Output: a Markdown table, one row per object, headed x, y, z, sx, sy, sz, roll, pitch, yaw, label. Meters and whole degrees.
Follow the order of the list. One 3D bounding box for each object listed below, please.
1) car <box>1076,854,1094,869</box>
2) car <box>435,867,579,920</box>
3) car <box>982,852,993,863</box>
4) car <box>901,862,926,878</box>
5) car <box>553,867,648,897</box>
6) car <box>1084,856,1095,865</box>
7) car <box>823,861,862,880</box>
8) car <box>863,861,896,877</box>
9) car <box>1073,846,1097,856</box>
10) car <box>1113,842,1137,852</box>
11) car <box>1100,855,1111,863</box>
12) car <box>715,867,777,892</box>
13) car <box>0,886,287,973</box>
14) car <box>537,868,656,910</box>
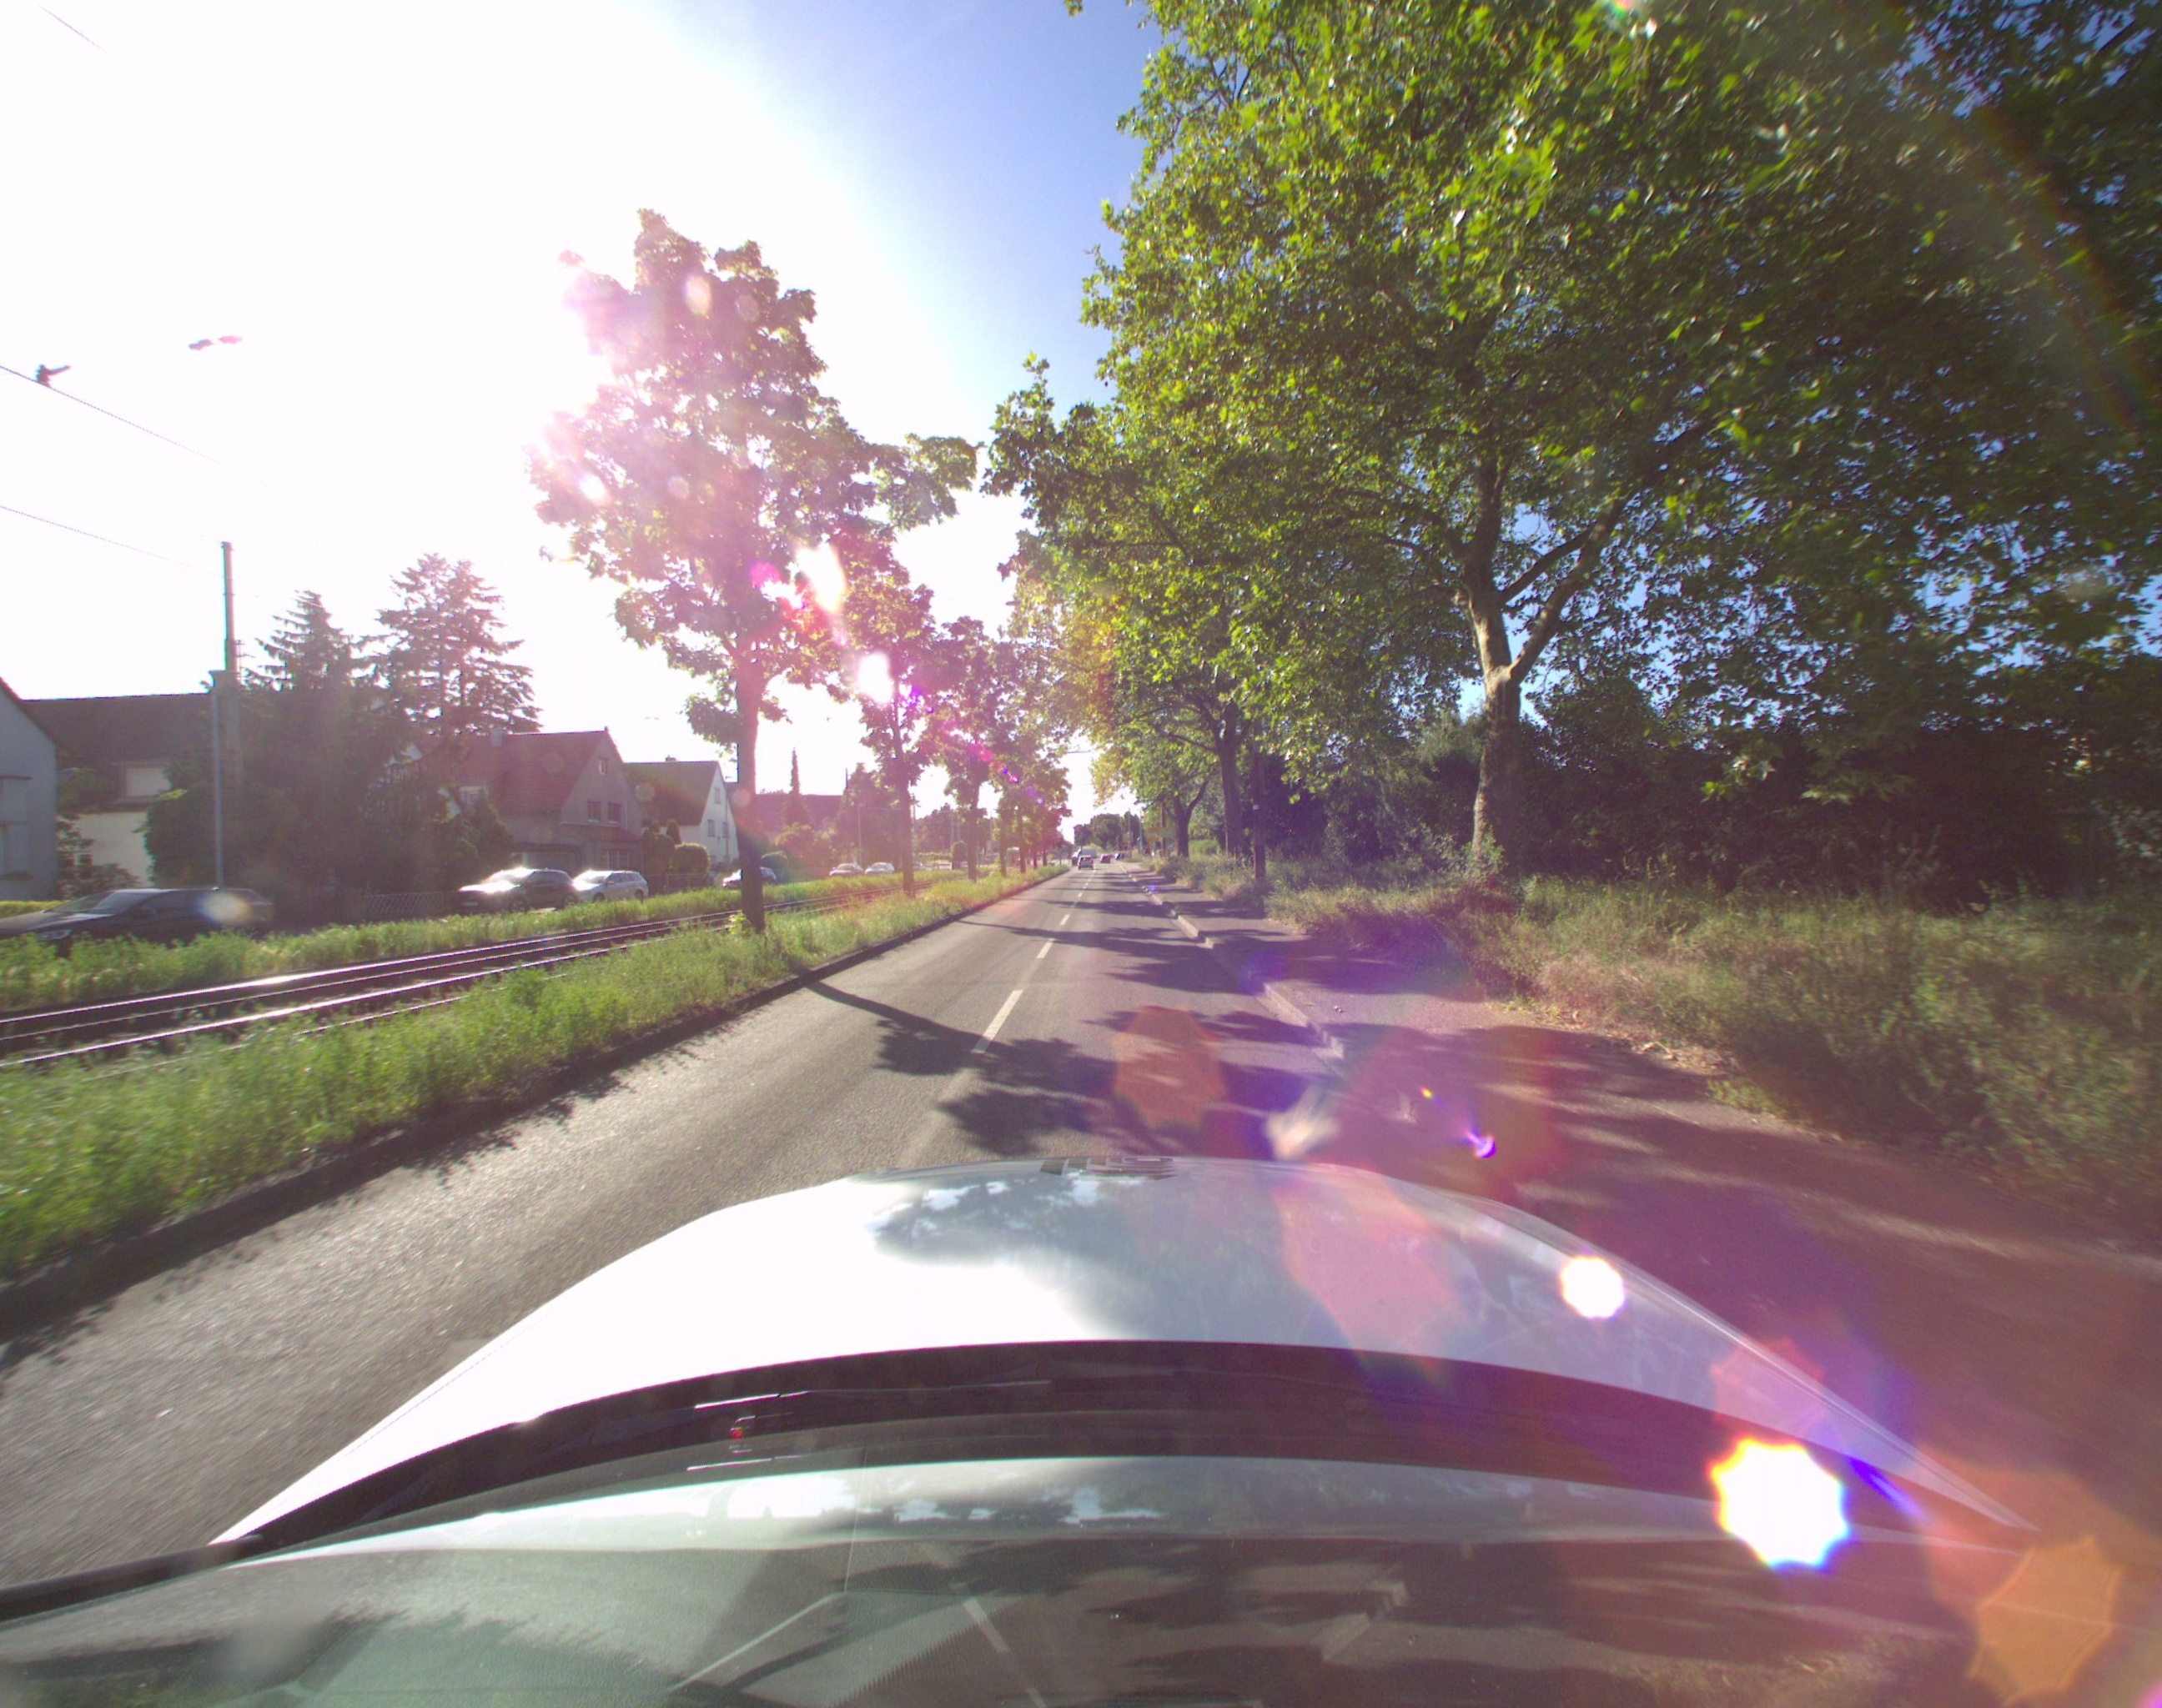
| x | y | z | sx | sy | sz | roll | pitch | yaw | label |
| --- | --- | --- | --- | --- | --- | --- | --- | --- | --- |
| 0.457 | 0.793 | 88.044 | 1.853 | 1.601 | 4.229 | 0 | 0 | 1 | car |
| -19.987 | 1.313 | 28.651 | 1.741 | 1.650 | 4.556 | 0 | 0 | 1 | car |
| -21.590 | 0.789 | 187.362 | 2.083 | 2.354 | 5.256 | 0 | 0 | -2 | car |
| -18.801 | 1.783 | 91.583 | 1.771 | 1.707 | 4.229 | 0 | 0 | 1 | car |
| -25.455 | 1.483 | 43.214 | 3.904 | 1.452 | 1.889 | 0 | 1 | 1 | car |
| 1.633 | 1.156 | 151.402 | 1.986 | 1.603 | 4.474 | 0 | 0 | 1 | car |
| -19.403 | 1.329 | 66.500 | 1.853 | 1.413 | 4.159 | 0 | 0 | 1 | car |
| -18.853 | 1.370 | 76.394 | 1.853 | 1.431 | 4.463 | 0 | 0 | 1 | car |
| 0.975 | -0.695 | 190.086 | 5.265 | 2.354 | 1.852 | 0 | 0 | -23 | car |
| 9.987 | -1.635 | 184.392 | 5.170 | 2.275 | 1.986 | 0 | 0 | -23 | car |
| 4.367 | 0.891 | 146.022 | 1.785 | 1.559 | 4.229 | 0 | 0 | 1 | car |
| -19.689 | 1.460 | 48.041 | 1.853 | 1.369 | 4.229 | 0 | 0 | 1 | car |
| -20.320 | 1.509 | 17.595 | 1.723 | 1.466 | 4.604 | 0 | 0 | 1 | car |
| -20.141 | 1.400 | 34.125 | 1.986 | 1.545 | 4.782 | 0 | 0 | 2 | car |
